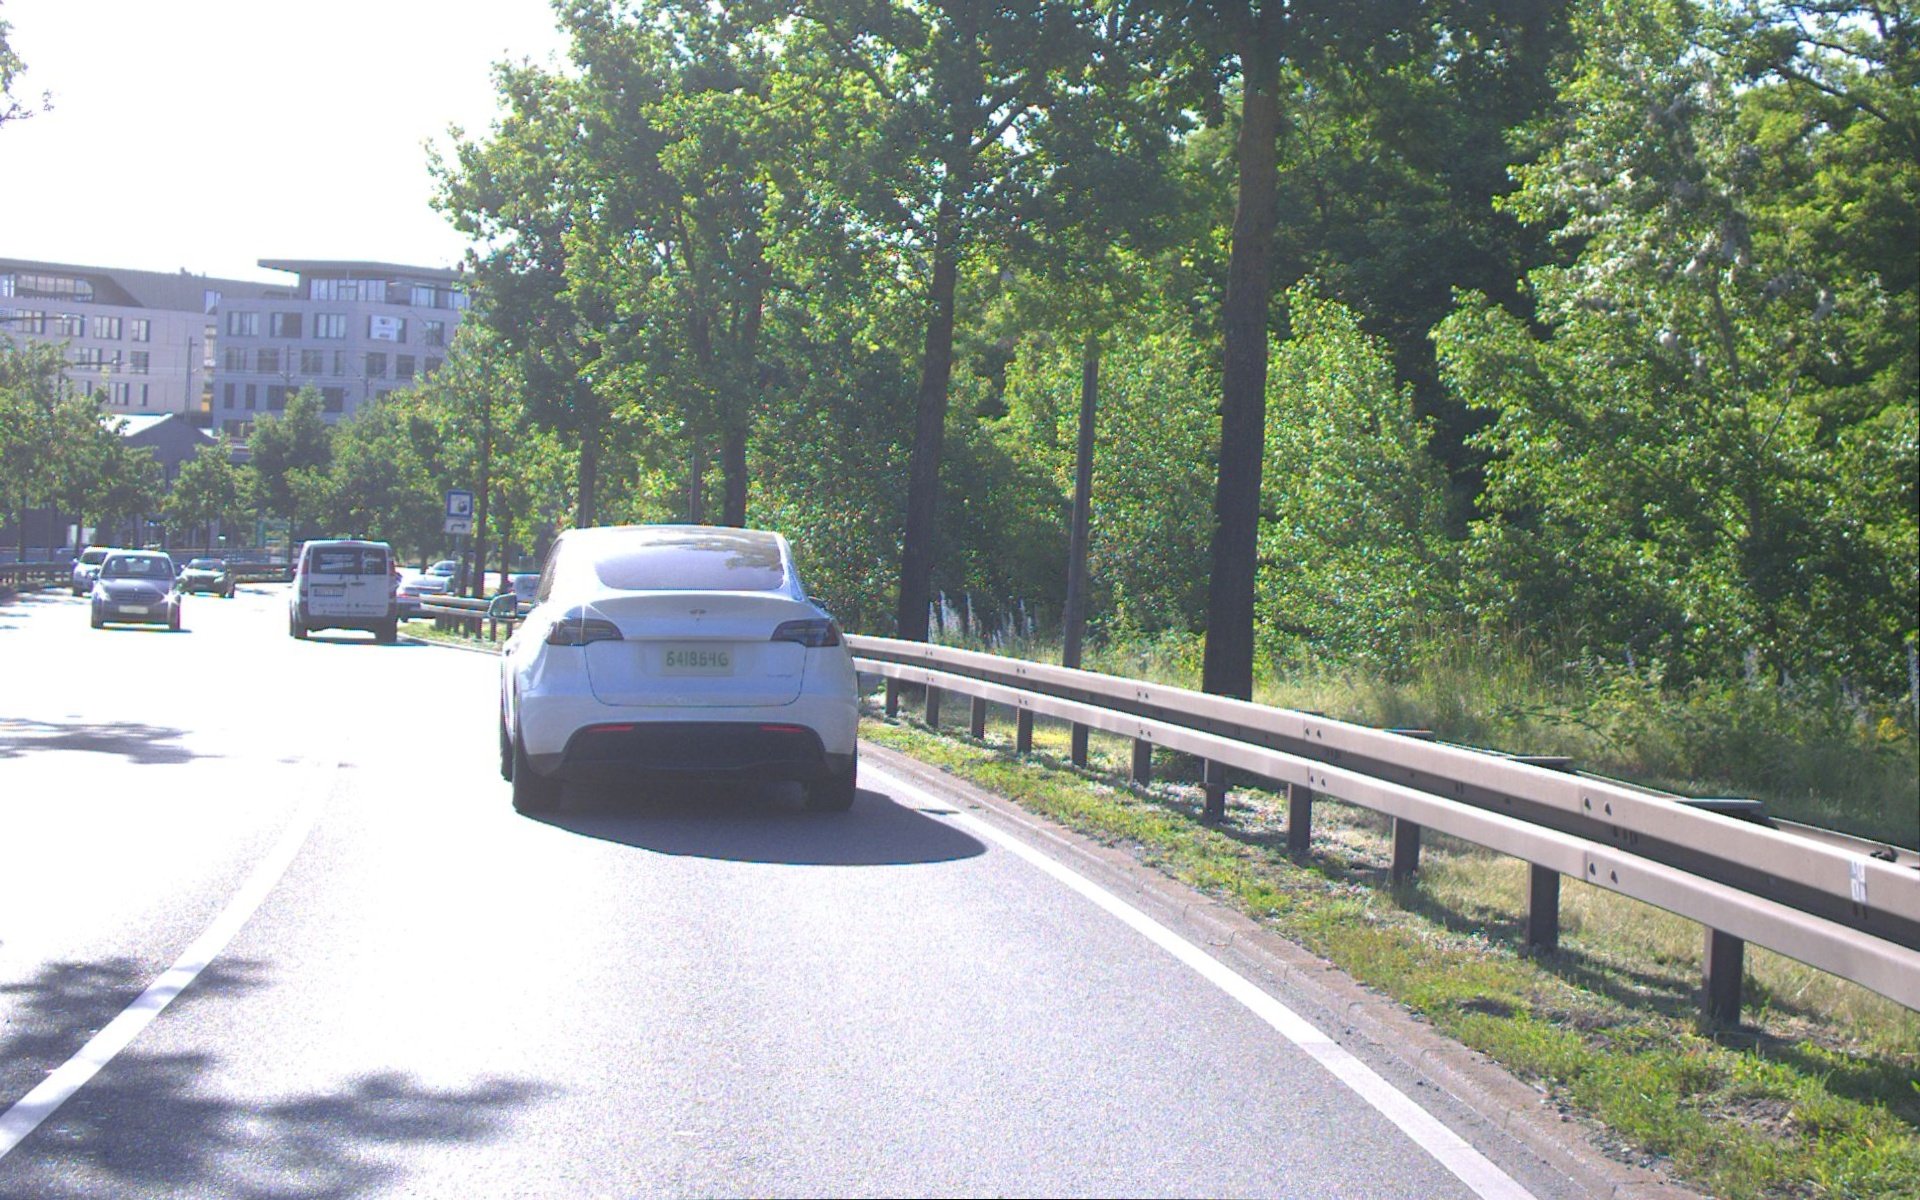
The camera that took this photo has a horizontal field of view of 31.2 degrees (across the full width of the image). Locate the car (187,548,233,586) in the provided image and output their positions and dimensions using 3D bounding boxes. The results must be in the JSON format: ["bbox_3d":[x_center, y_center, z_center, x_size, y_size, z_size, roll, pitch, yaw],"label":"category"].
[{"bbox_3d":[-29.587,-1.321,135.538,1.690,1.436,4.217,1,1,-13],"label":"car"}]

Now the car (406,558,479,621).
[{"bbox_3d":[-16.170,-0.338,107.562,1.909,1.796,4.129,3,1,-5],"label":"car"}]

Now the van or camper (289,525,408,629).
[{"bbox_3d":[-11.632,-0.467,65.672,1.958,1.877,4.881,1,1,-7],"label":"van or camper"}]

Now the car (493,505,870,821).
[{"bbox_3d":[-1.761,0.304,20.330,1.913,1.635,4.411,1,1,-8],"label":"car"}]

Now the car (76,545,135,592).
[{"bbox_3d":[-28.396,-1.070,114.171,1.849,1.486,4.718,1,1,-15],"label":"car"}]

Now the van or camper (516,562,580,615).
[{"bbox_3d":[-15.970,-0.471,133.524,1.825,1.785,4.545,4,2,0],"label":"van or camper"}]

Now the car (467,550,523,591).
[{"bbox_3d":[-21.566,-1.378,159.578,1.910,1.796,4.128,3,1,1],"label":"car"}]

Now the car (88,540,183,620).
[{"bbox_3d":[-16.880,-0.432,70.274,1.808,1.548,4.142,1,1,-14],"label":"car"}]
